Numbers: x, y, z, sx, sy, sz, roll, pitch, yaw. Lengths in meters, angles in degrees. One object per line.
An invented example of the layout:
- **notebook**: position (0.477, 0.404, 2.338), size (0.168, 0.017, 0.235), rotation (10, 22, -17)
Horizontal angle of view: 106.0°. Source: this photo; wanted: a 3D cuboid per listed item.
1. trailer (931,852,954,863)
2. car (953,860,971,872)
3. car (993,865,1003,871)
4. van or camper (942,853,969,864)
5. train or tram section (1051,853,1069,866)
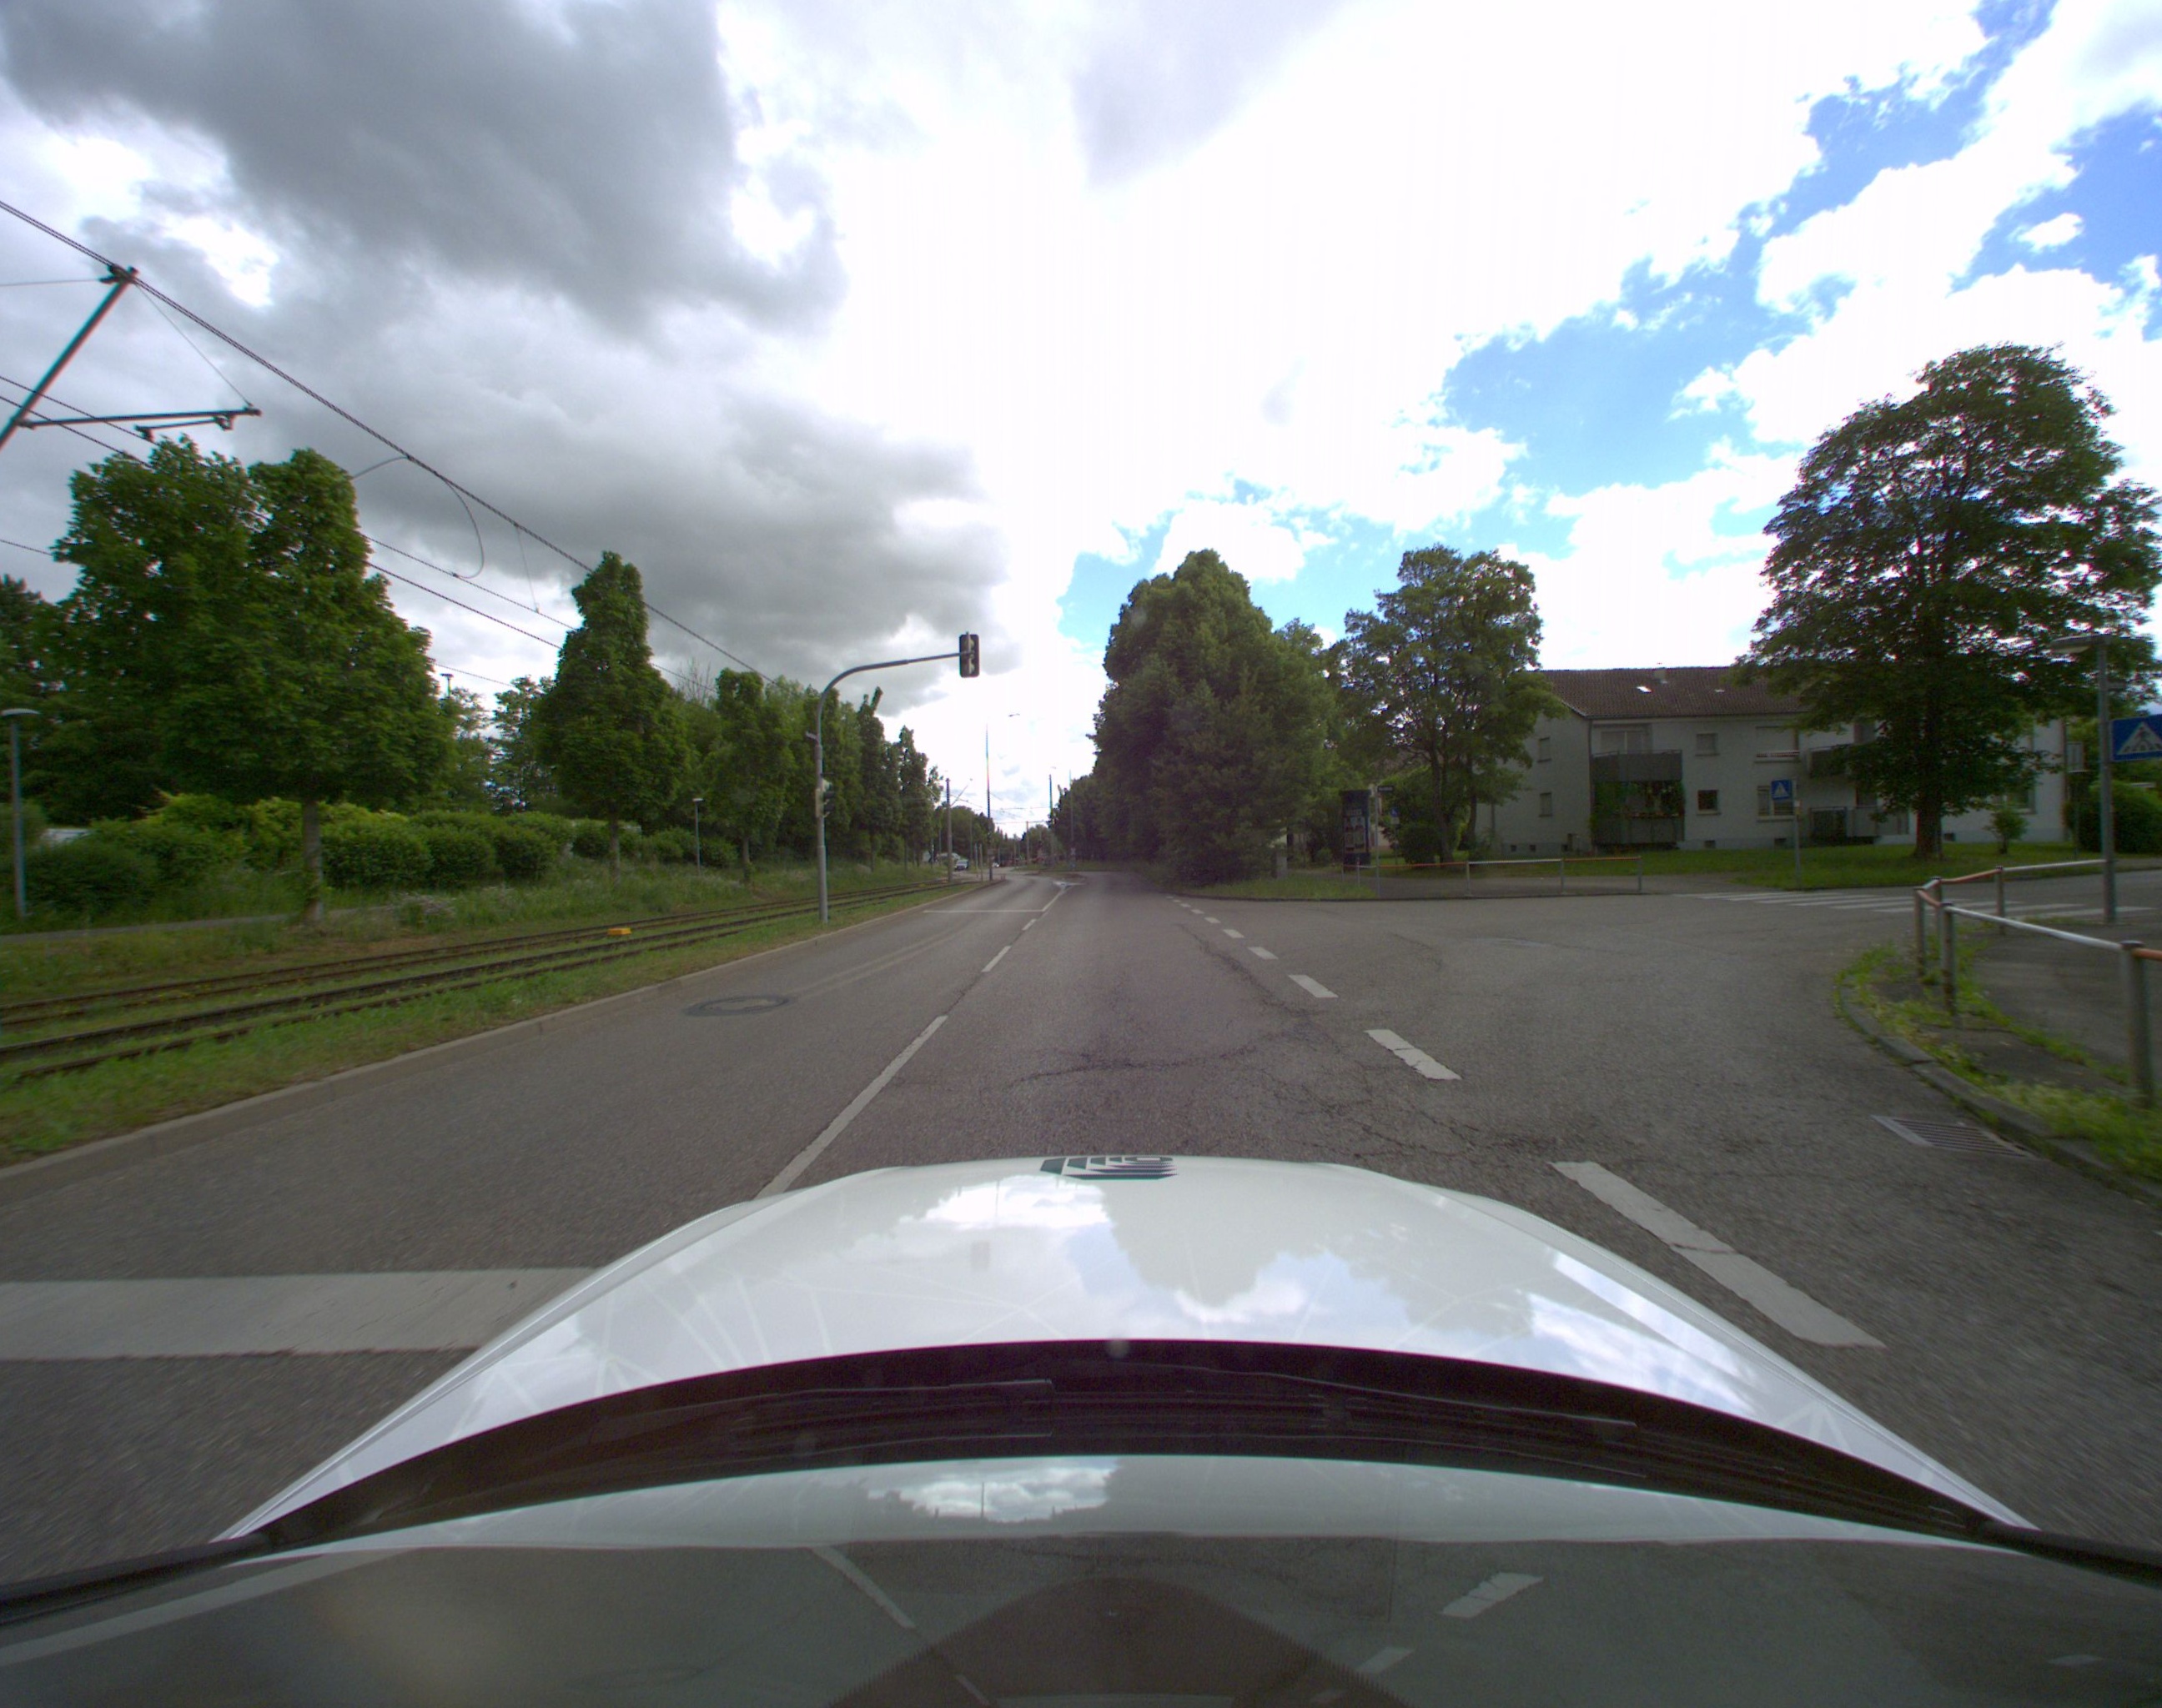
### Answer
- **trailer**: position (-26.673, 0.730, 157.079), size (3.973, 2.013, 1.908), rotation (-1, 0, 0)
- **car**: position (-16.647, 1.673, 113.994), size (1.862, 1.521, 4.237), rotation (-1, 1, -1)
- **car**: position (-22.463, 3.672, 220.166), size (1.986, 1.438, 4.428), rotation (-3, 0, 2)
- **van or camper**: position (-26.389, 0.923, 171.521), size (5.320, 2.203, 1.998), rotation (-1, 0, -3)
- **train or tram section**: position (-6.239, 1.589, 231.966), size (3.003, 3.311, 34.646), rotation (-1, 0, -5)
